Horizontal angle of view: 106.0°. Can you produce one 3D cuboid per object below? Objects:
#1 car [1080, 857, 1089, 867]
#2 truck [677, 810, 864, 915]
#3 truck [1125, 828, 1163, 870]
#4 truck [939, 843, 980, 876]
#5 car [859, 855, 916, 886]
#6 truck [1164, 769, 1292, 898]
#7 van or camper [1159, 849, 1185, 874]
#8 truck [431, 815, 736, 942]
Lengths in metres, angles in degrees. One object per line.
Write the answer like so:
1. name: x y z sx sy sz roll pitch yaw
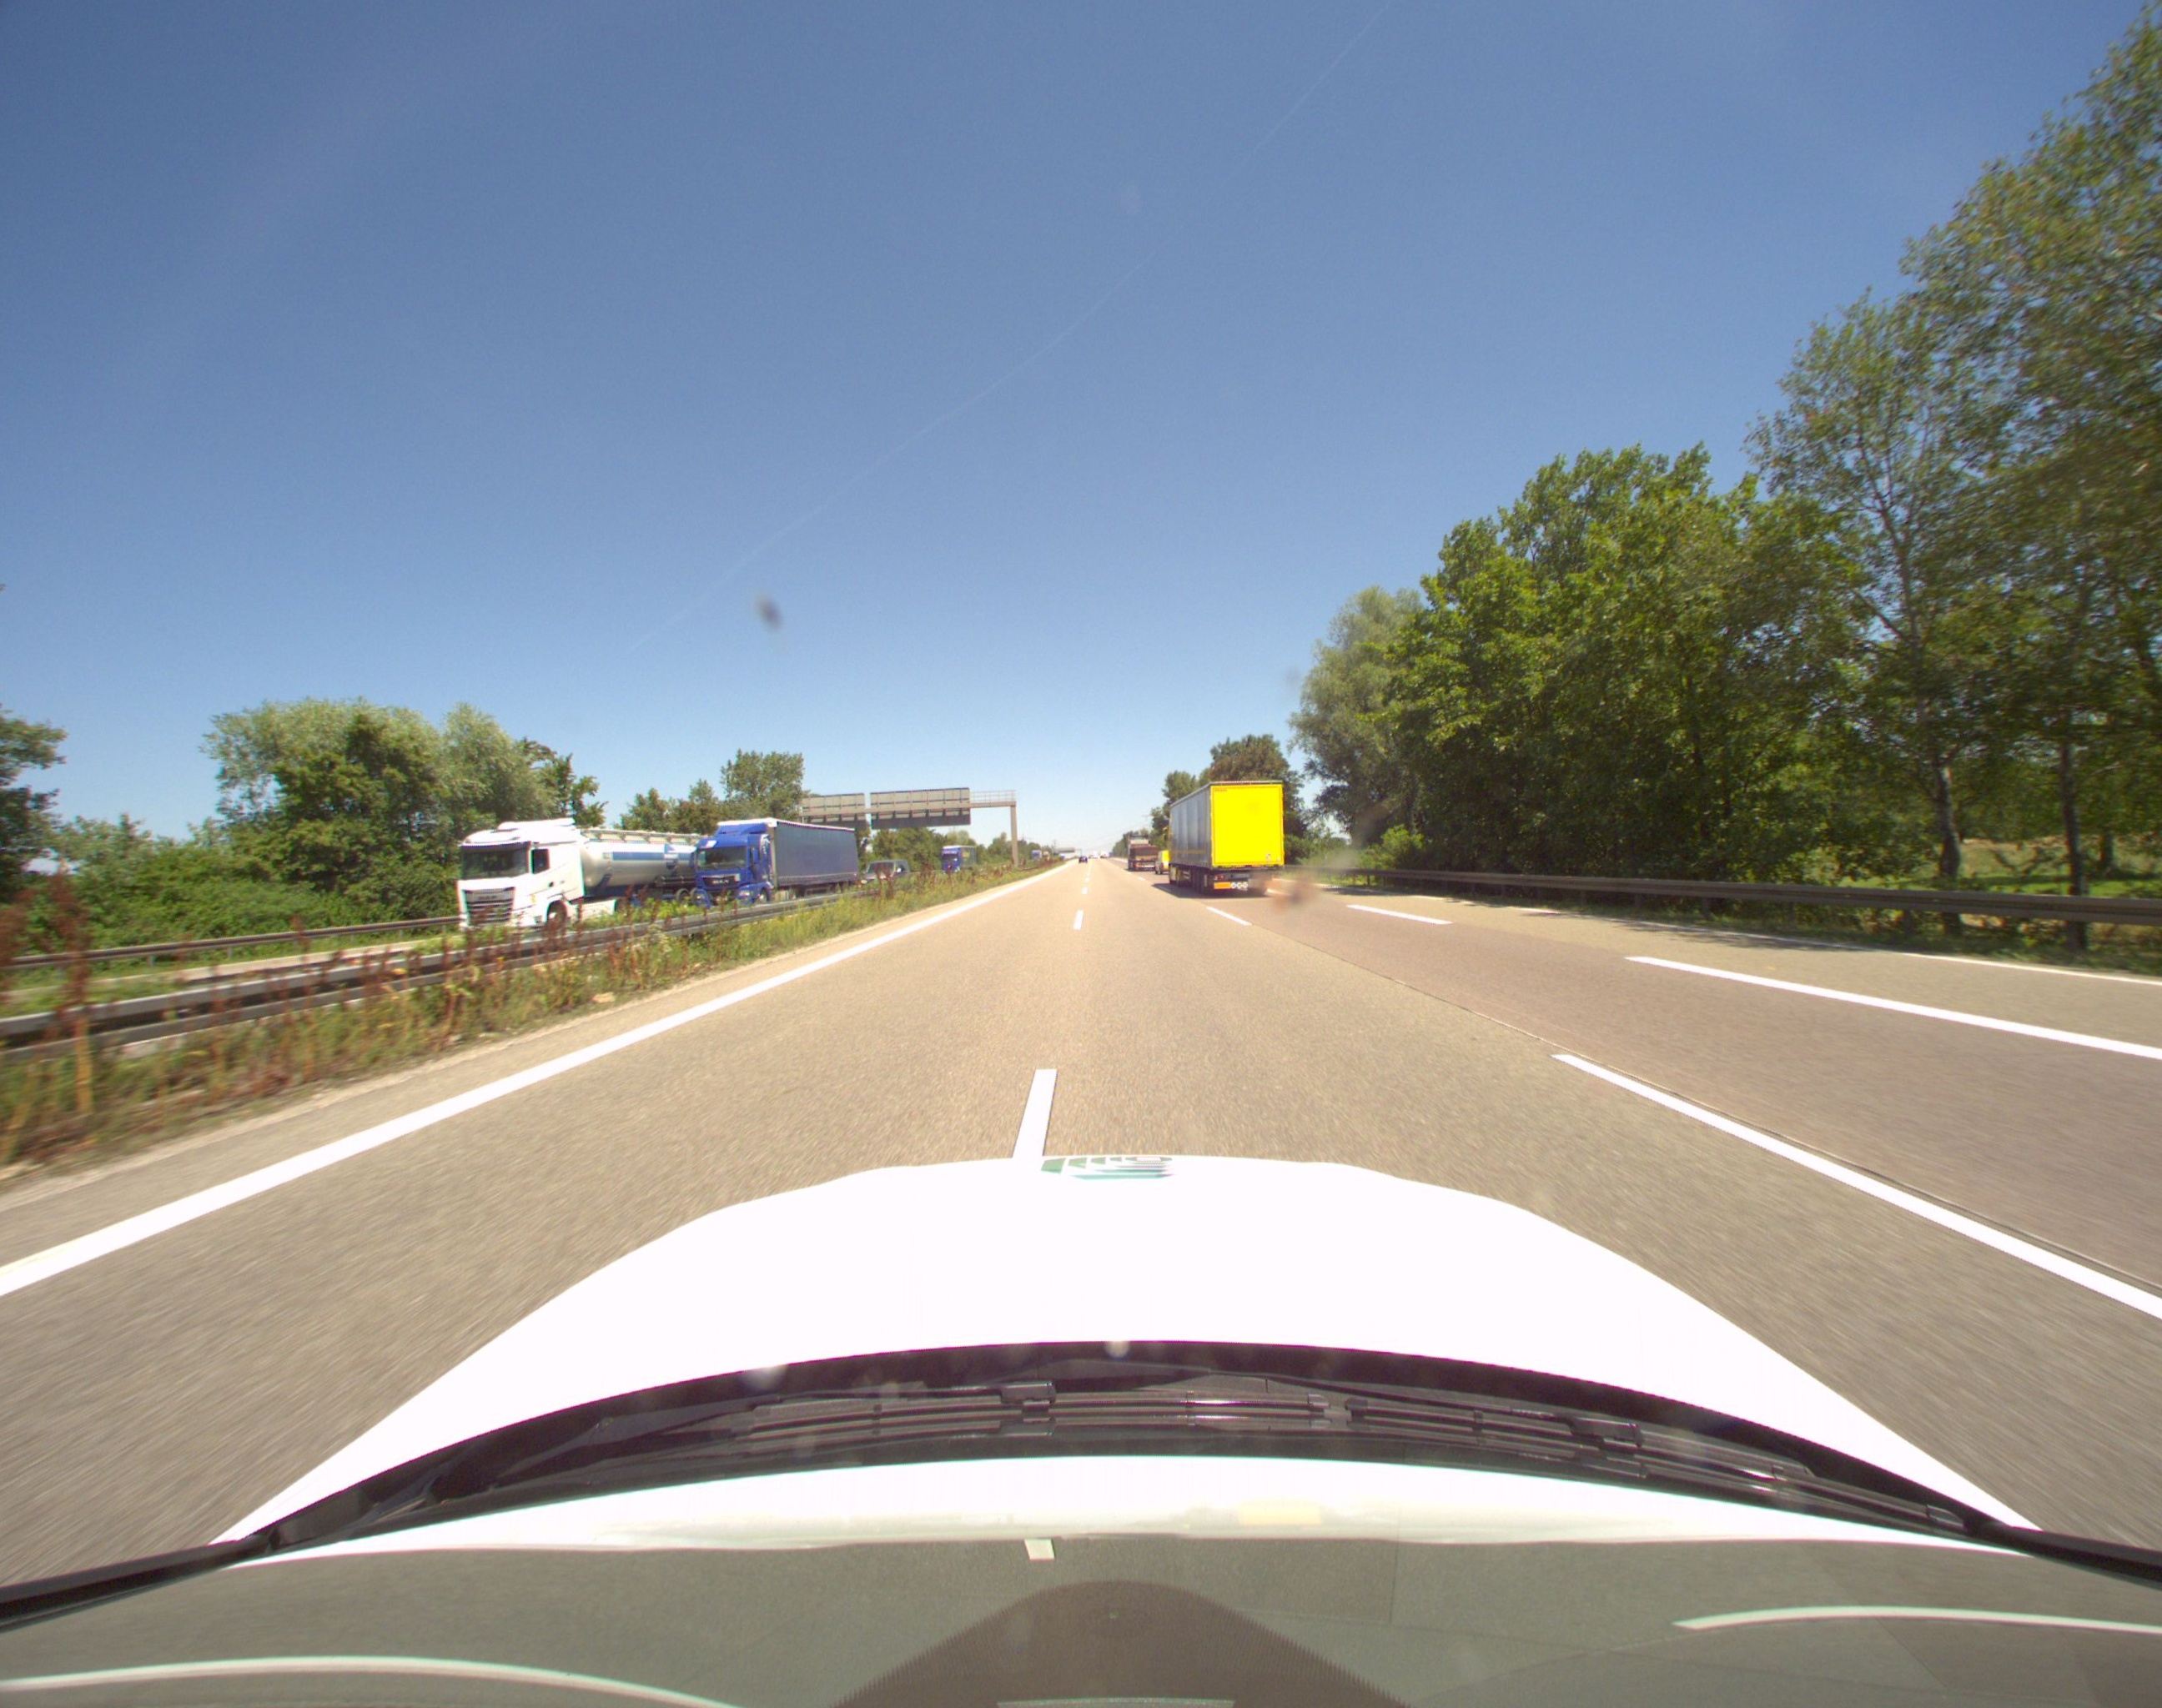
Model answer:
1. car: 0.735 1.724 167.296 1.785 2.014 3.888 -1 -1 1
2. truck: -15.329 0.404 42.798 2.945 4.245 17.180 -3 0 0
3. truck: 6.507 -0.367 86.365 2.959 3.957 16.615 -1 -1 1
4. truck: -17.918 0.785 121.719 2.945 4.342 18.240 -3 0 0
5. car: -11.035 0.890 46.807 1.986 1.589 4.819 -3 0 1
6. truck: 5.877 -0.604 36.273 2.835 4.257 16.794 -3 -1 1
7. van or camper: 7.499 0.586 67.568 1.984 1.909 4.977 -1 0 4
8. truck: -19.661 0.842 34.588 2.945 4.018 15.819 -3 0 0
